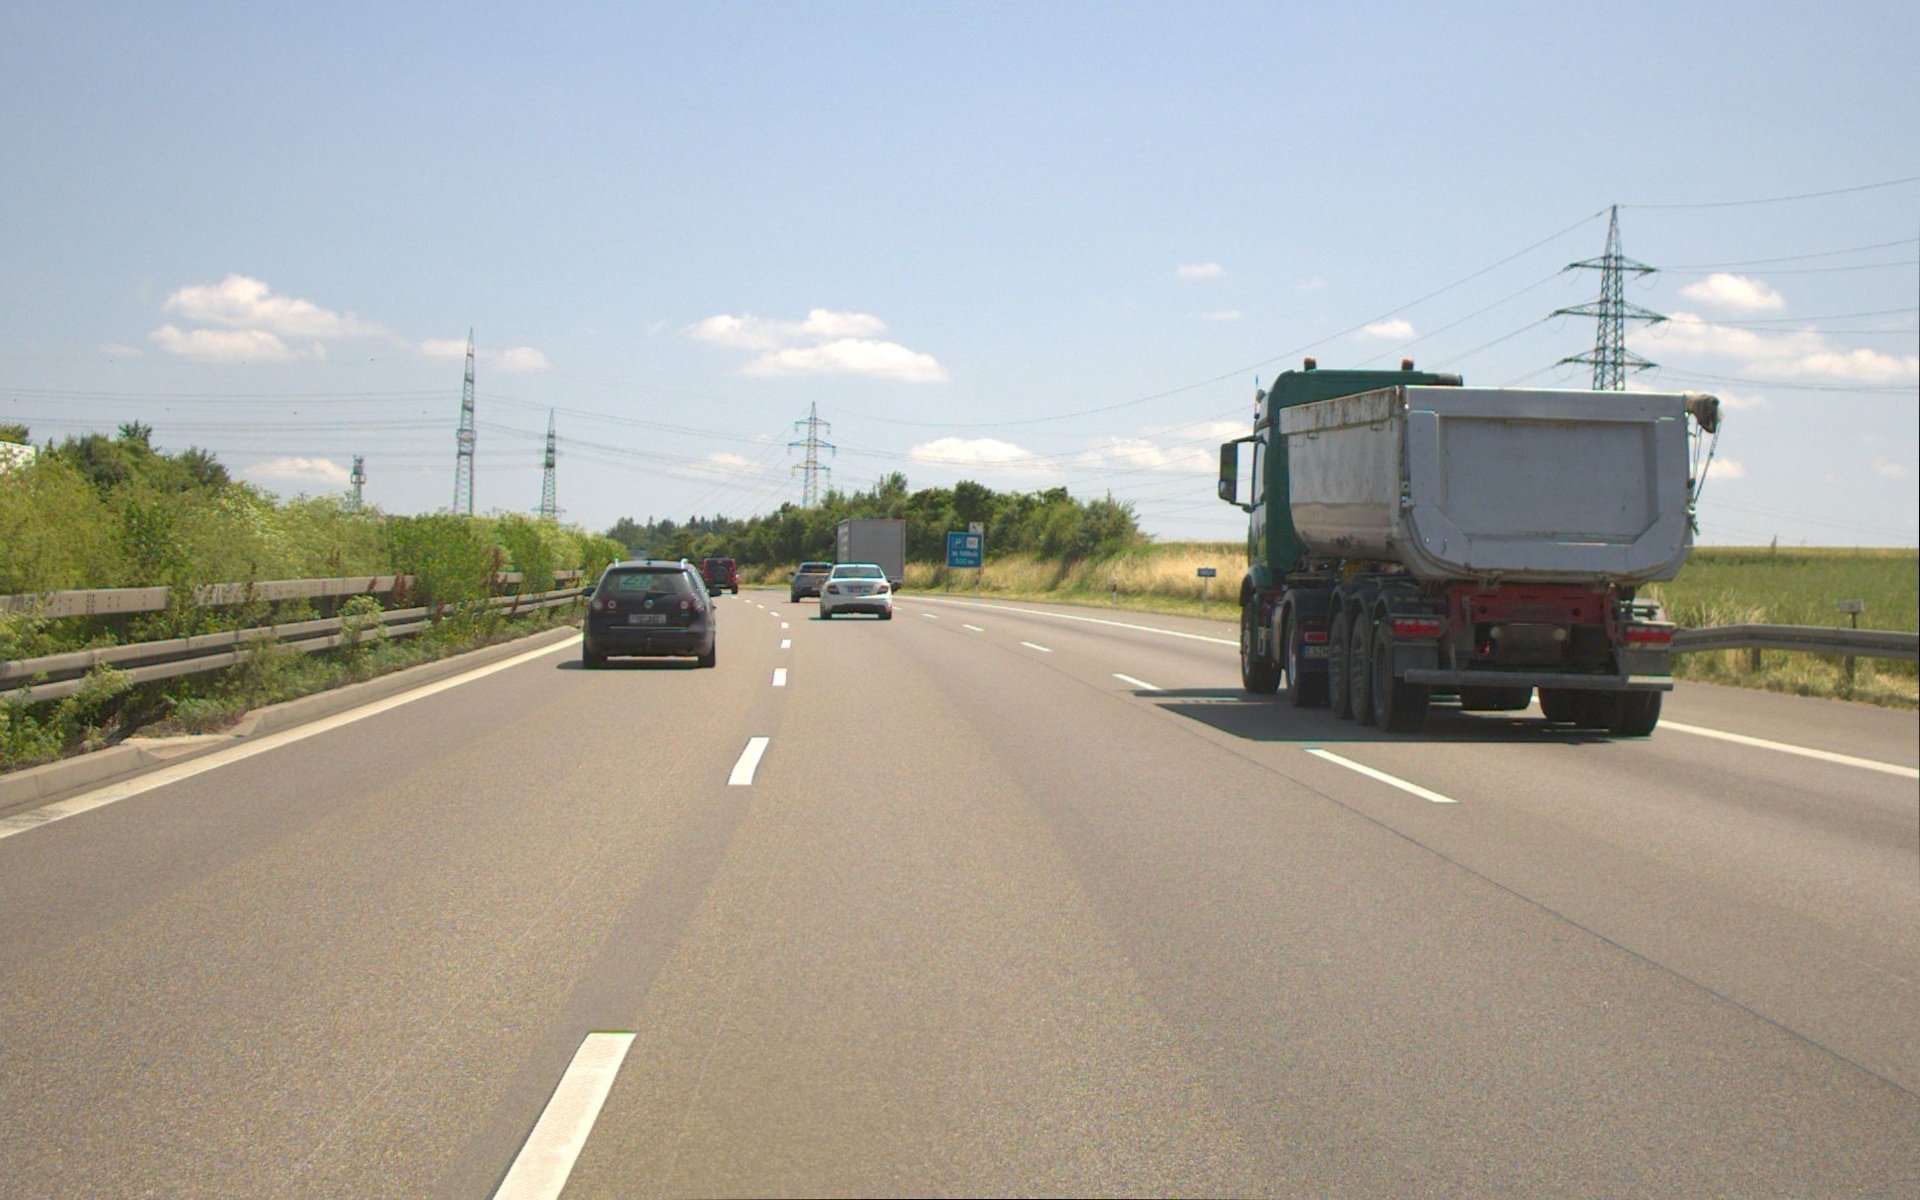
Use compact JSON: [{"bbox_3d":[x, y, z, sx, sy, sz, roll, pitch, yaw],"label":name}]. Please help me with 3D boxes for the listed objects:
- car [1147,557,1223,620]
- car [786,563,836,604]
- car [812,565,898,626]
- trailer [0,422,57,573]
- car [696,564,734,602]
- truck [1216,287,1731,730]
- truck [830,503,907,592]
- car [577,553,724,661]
[{"bbox_3d":[6.741,-0.355,103.282,1.993,1.846,4.000,0,1,-1],"label":"car"},{"bbox_3d":[-5.588,-0.631,129.124,1.838,1.535,3.915,0,1,-2],"label":"car"},{"bbox_3d":[-2.738,-0.131,88.737,1.819,1.535,3.915,0,1,-8],"label":"car"},{"bbox_3d":[-23.046,-2.308,76.242,2.597,3.431,15.832,0,1,-3],"label":"trailer"},{"bbox_3d":[-12.452,-0.871,174.912,1.901,1.919,4.001,0,1,-4],"label":"car"},{"bbox_3d":[4.807,-0.833,35.335,2.865,3.711,12.764,0,1,-2],"label":"truck"},{"bbox_3d":[-4.228,-2.338,156.995,3.221,3.911,9.061,1,0,-3],"label":"truck"},{"bbox_3d":[-4.232,0.077,47.511,1.756,1.424,4.000,0,1,-1],"label":"car"}]
